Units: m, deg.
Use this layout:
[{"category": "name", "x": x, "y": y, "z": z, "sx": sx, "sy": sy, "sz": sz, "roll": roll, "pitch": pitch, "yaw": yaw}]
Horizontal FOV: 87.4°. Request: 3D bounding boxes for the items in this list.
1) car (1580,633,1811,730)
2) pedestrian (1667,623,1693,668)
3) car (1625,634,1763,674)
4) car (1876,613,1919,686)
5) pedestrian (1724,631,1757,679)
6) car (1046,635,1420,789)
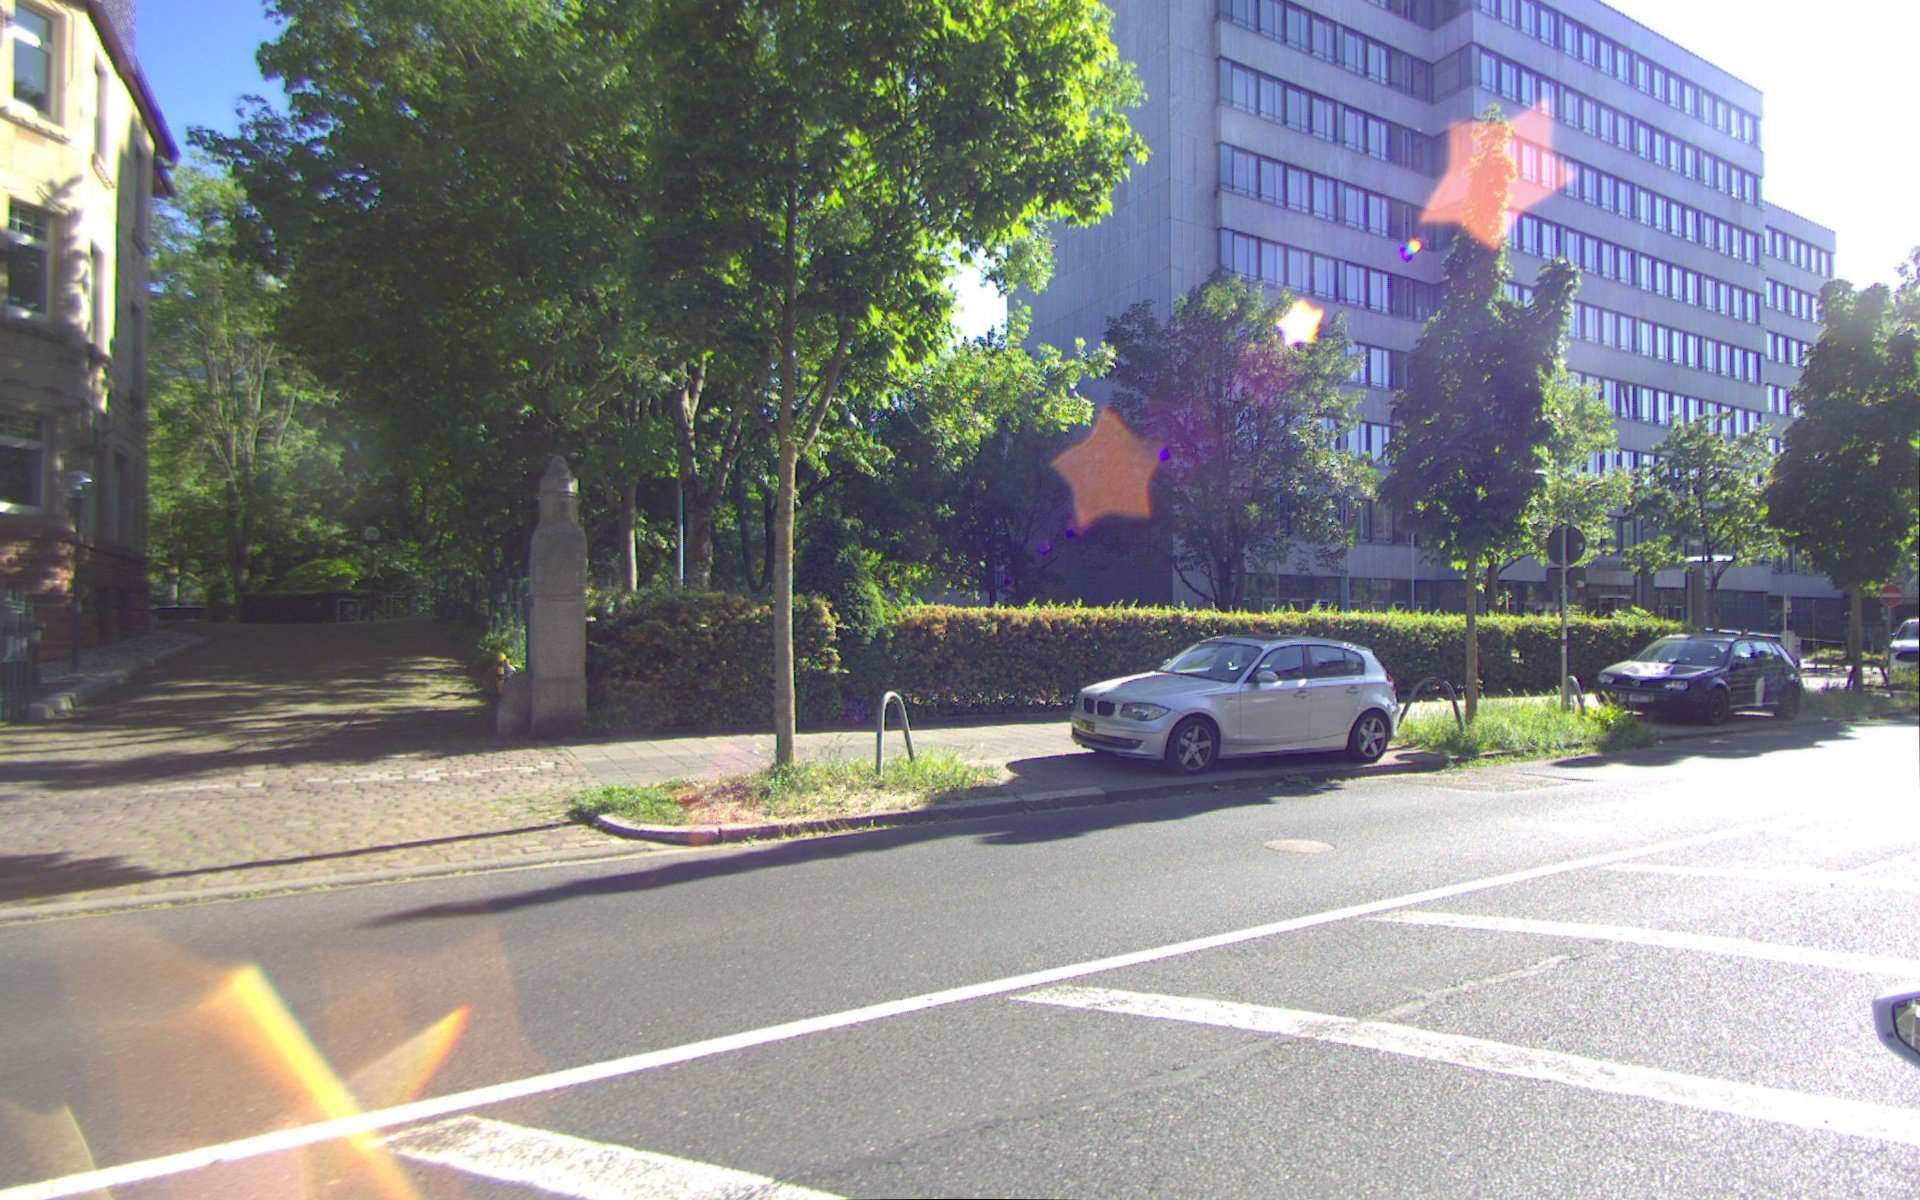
[{"category": "car", "x": 12.768, "y": 1.330, "z": 17.406, "sx": 4.022, "sy": 1.478, "sz": 1.705, "roll": 1, "pitch": -1, "yaw": -29}, {"category": "pedestrian", "x": 34.850, "y": 2.191, "z": 48.631, "sx": 0.782, "sy": 2.121, "sz": 0.768, "roll": 1, "pitch": -1, "yaw": -28}, {"category": "car", "x": 30.556, "y": 2.206, "z": 41.934, "sx": 1.841, "sy": 1.543, "sz": 4.281, "roll": 1, "pitch": -1, "yaw": -32}, {"category": "car", "x": 29.900, "y": 1.460, "z": 30.335, "sx": 5.140, "sy": 2.103, "sz": 1.971, "roll": 1, "pitch": -4, "yaw": -33}, {"category": "pedestrian", "x": 33.994, "y": 2.379, "z": 43.758, "sx": 0.996, "sy": 2.040, "sz": 0.832, "roll": 1, "pitch": -1, "yaw": -30}, {"category": "car", "x": 3.197, "y": 1.172, "z": 11.630, "sx": 4.138, "sy": 1.402, "sz": 1.681, "roll": 1, "pitch": 1, "yaw": -28}]
